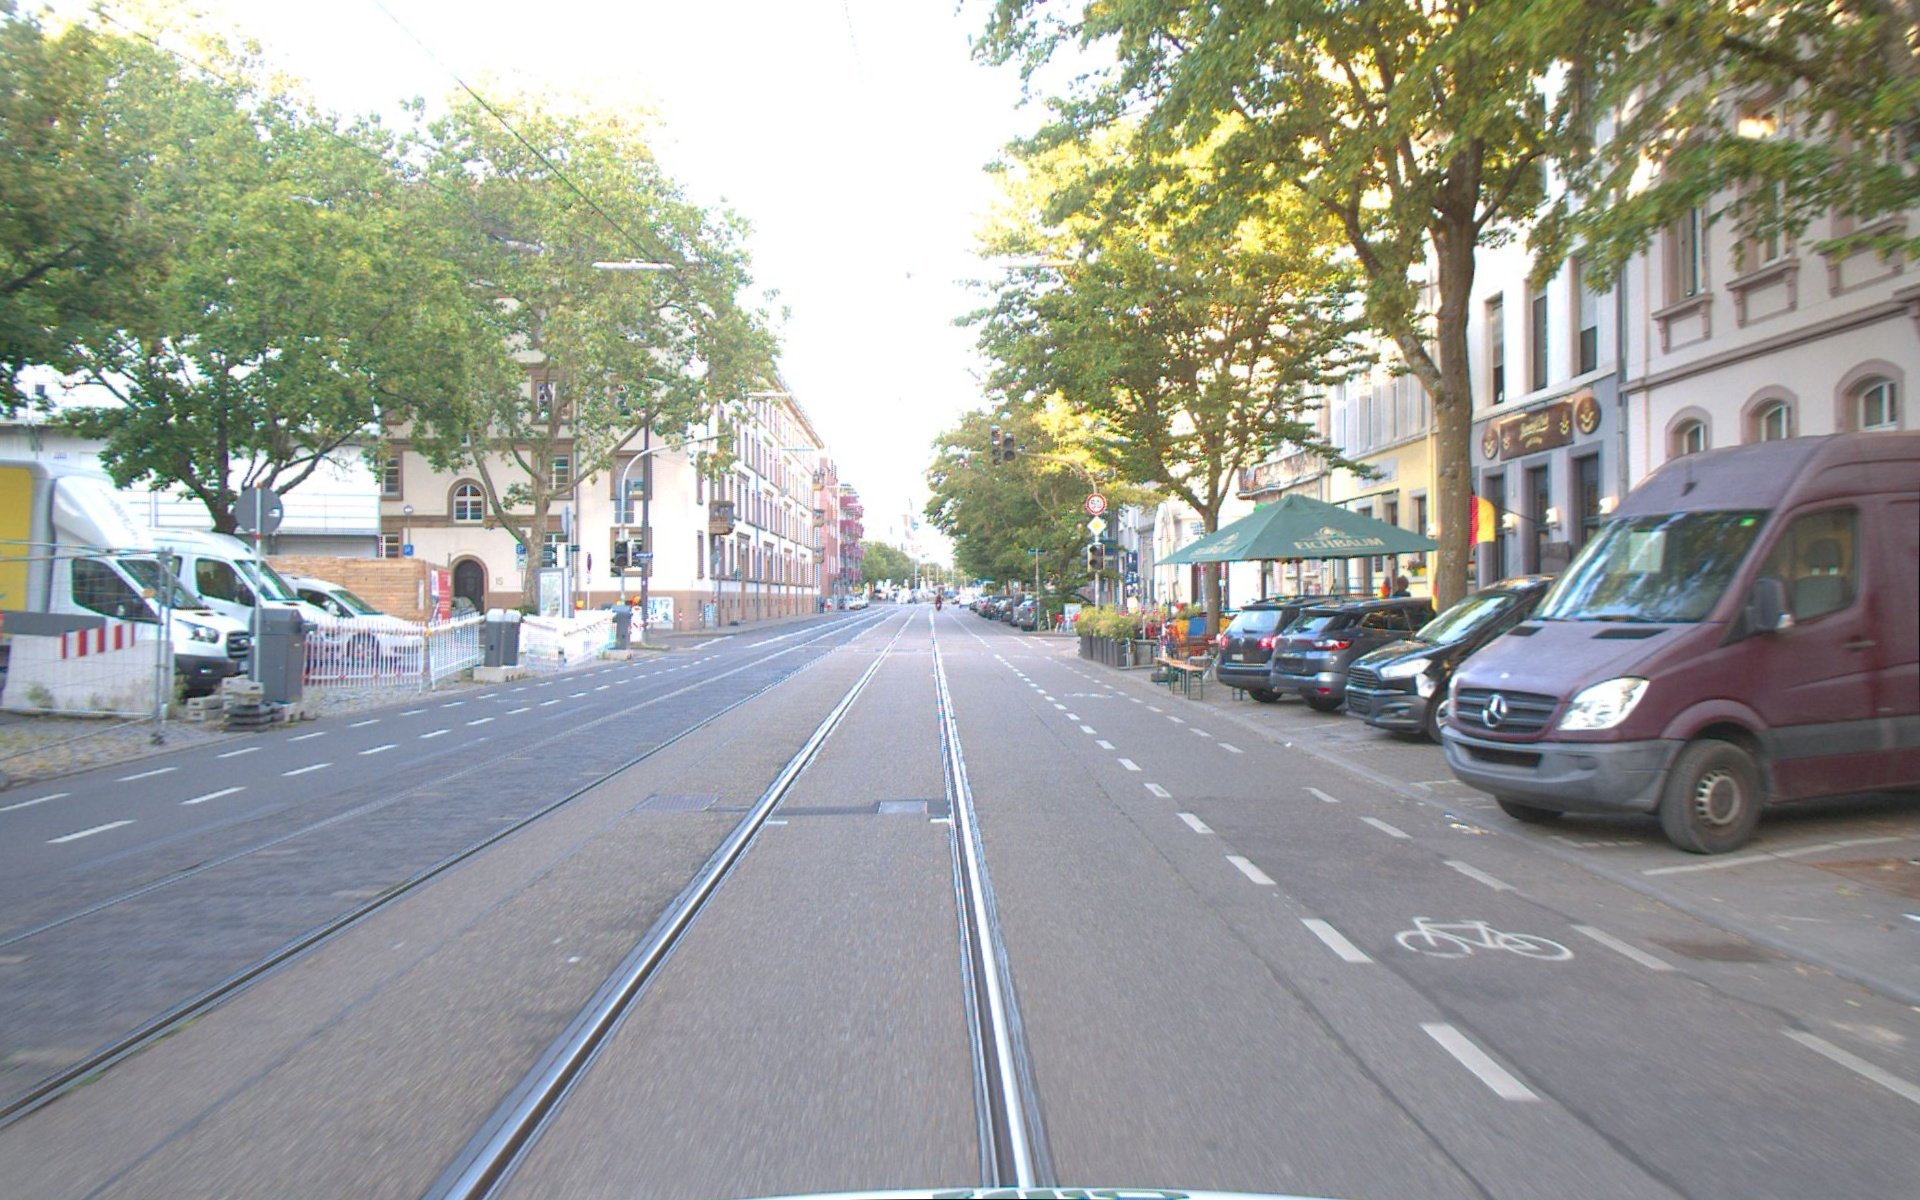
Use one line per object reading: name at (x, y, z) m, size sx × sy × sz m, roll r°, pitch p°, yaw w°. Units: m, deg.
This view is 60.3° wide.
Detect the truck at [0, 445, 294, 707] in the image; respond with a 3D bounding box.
truck at (-13.761, -0.406, 24.168) m, size 6.919 × 3.541 × 2.539 m, roll 2°, pitch 0°, yaw -5°

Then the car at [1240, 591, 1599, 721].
car at (5.996, 0.689, 21.719) m, size 4.109 × 1.488 × 1.999 m, roll -1°, pitch 0°, yaw -17°

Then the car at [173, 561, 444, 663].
car at (-14.052, 0.232, 35.857) m, size 4.921 × 1.979 × 2.228 m, roll 2°, pitch 1°, yaw 3°

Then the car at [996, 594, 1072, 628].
car at (3.726, 0.537, 83.780) m, size 3.808 × 1.690 × 1.861 m, roll 0°, pitch 0°, yaw 0°

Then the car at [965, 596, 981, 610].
car at (1.608, 0.343, 210.022) m, size 1.923 × 1.748 × 3.999 m, roll 1°, pitch 0°, yaw -1°

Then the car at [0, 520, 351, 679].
car at (-14.137, -0.009, 29.994) m, size 5.293 × 2.603 × 2.225 m, roll 2°, pitch 0°, yaw -4°

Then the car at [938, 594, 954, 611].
car at (-1.703, 0.268, 198.554) m, size 1.859 × 2.049 × 3.999 m, roll 1°, pitch 0°, yaw -1°

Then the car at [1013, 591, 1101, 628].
car at (4.273, 0.404, 73.516) m, size 3.808 × 1.620 × 1.861 m, roll 0°, pitch 0°, yaw 0°

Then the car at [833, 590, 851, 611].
car at (-13.072, 0.045, 183.447) m, size 1.859 × 2.216 × 3.999 m, roll 1°, pitch 0°, yaw -1°

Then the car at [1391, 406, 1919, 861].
car at (5.775, 0.117, 11.536) m, size 5.017 × 2.689 × 2.011 m, roll -2°, pitch 0°, yaw -18°

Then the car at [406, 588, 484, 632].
car at (-20.252, 0.387, 65.217) m, size 1.873 × 1.669 × 4.117 m, roll 0°, pitch 0°, yaw -1°

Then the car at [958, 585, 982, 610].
car at (0.806, -0.194, 135.194) m, size 1.859 × 2.049 × 3.999 m, roll 1°, pitch 0°, yaw -1°

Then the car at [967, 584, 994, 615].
car at (1.392, -0.037, 112.463) m, size 1.687 × 2.049 × 3.999 m, roll 1°, pitch 0°, yaw -1°

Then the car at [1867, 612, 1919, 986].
car at (5.956, 0.734, 6.858) m, size 3.901 × 1.512 × 1.905 m, roll -2°, pitch -1°, yaw -25°

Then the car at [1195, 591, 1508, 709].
car at (5.724, 0.684, 24.172) m, size 4.124 × 1.525 × 1.992 m, roll -1°, pitch 0°, yaw -26°

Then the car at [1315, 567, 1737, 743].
car at (6.078, 0.563, 17.992) m, size 3.937 × 1.737 × 1.815 m, roll -1°, pitch -1°, yaw -8°

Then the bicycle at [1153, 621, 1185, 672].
bicycle at (4.438, 0.977, 35.208) m, size 0.410 × 1.033 × 1.829 m, roll 0°, pitch 0°, yaw -1°

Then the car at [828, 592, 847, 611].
car at (-13.239, 0.171, 178.798) m, size 1.859 × 2.049 × 3.999 m, roll 1°, pitch 0°, yaw -1°

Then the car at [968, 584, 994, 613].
car at (1.511, -0.115, 122.143) m, size 1.768 × 2.049 × 3.999 m, roll 1°, pitch 0°, yaw -1°

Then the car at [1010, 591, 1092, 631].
car at (4.327, 0.510, 78.937) m, size 3.808 × 1.880 × 1.861 m, roll 0°, pitch -1°, yaw 0°

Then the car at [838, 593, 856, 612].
car at (-12.924, 0.286, 189.006) m, size 1.859 × 2.049 × 3.999 m, roll 1°, pitch 0°, yaw -1°
